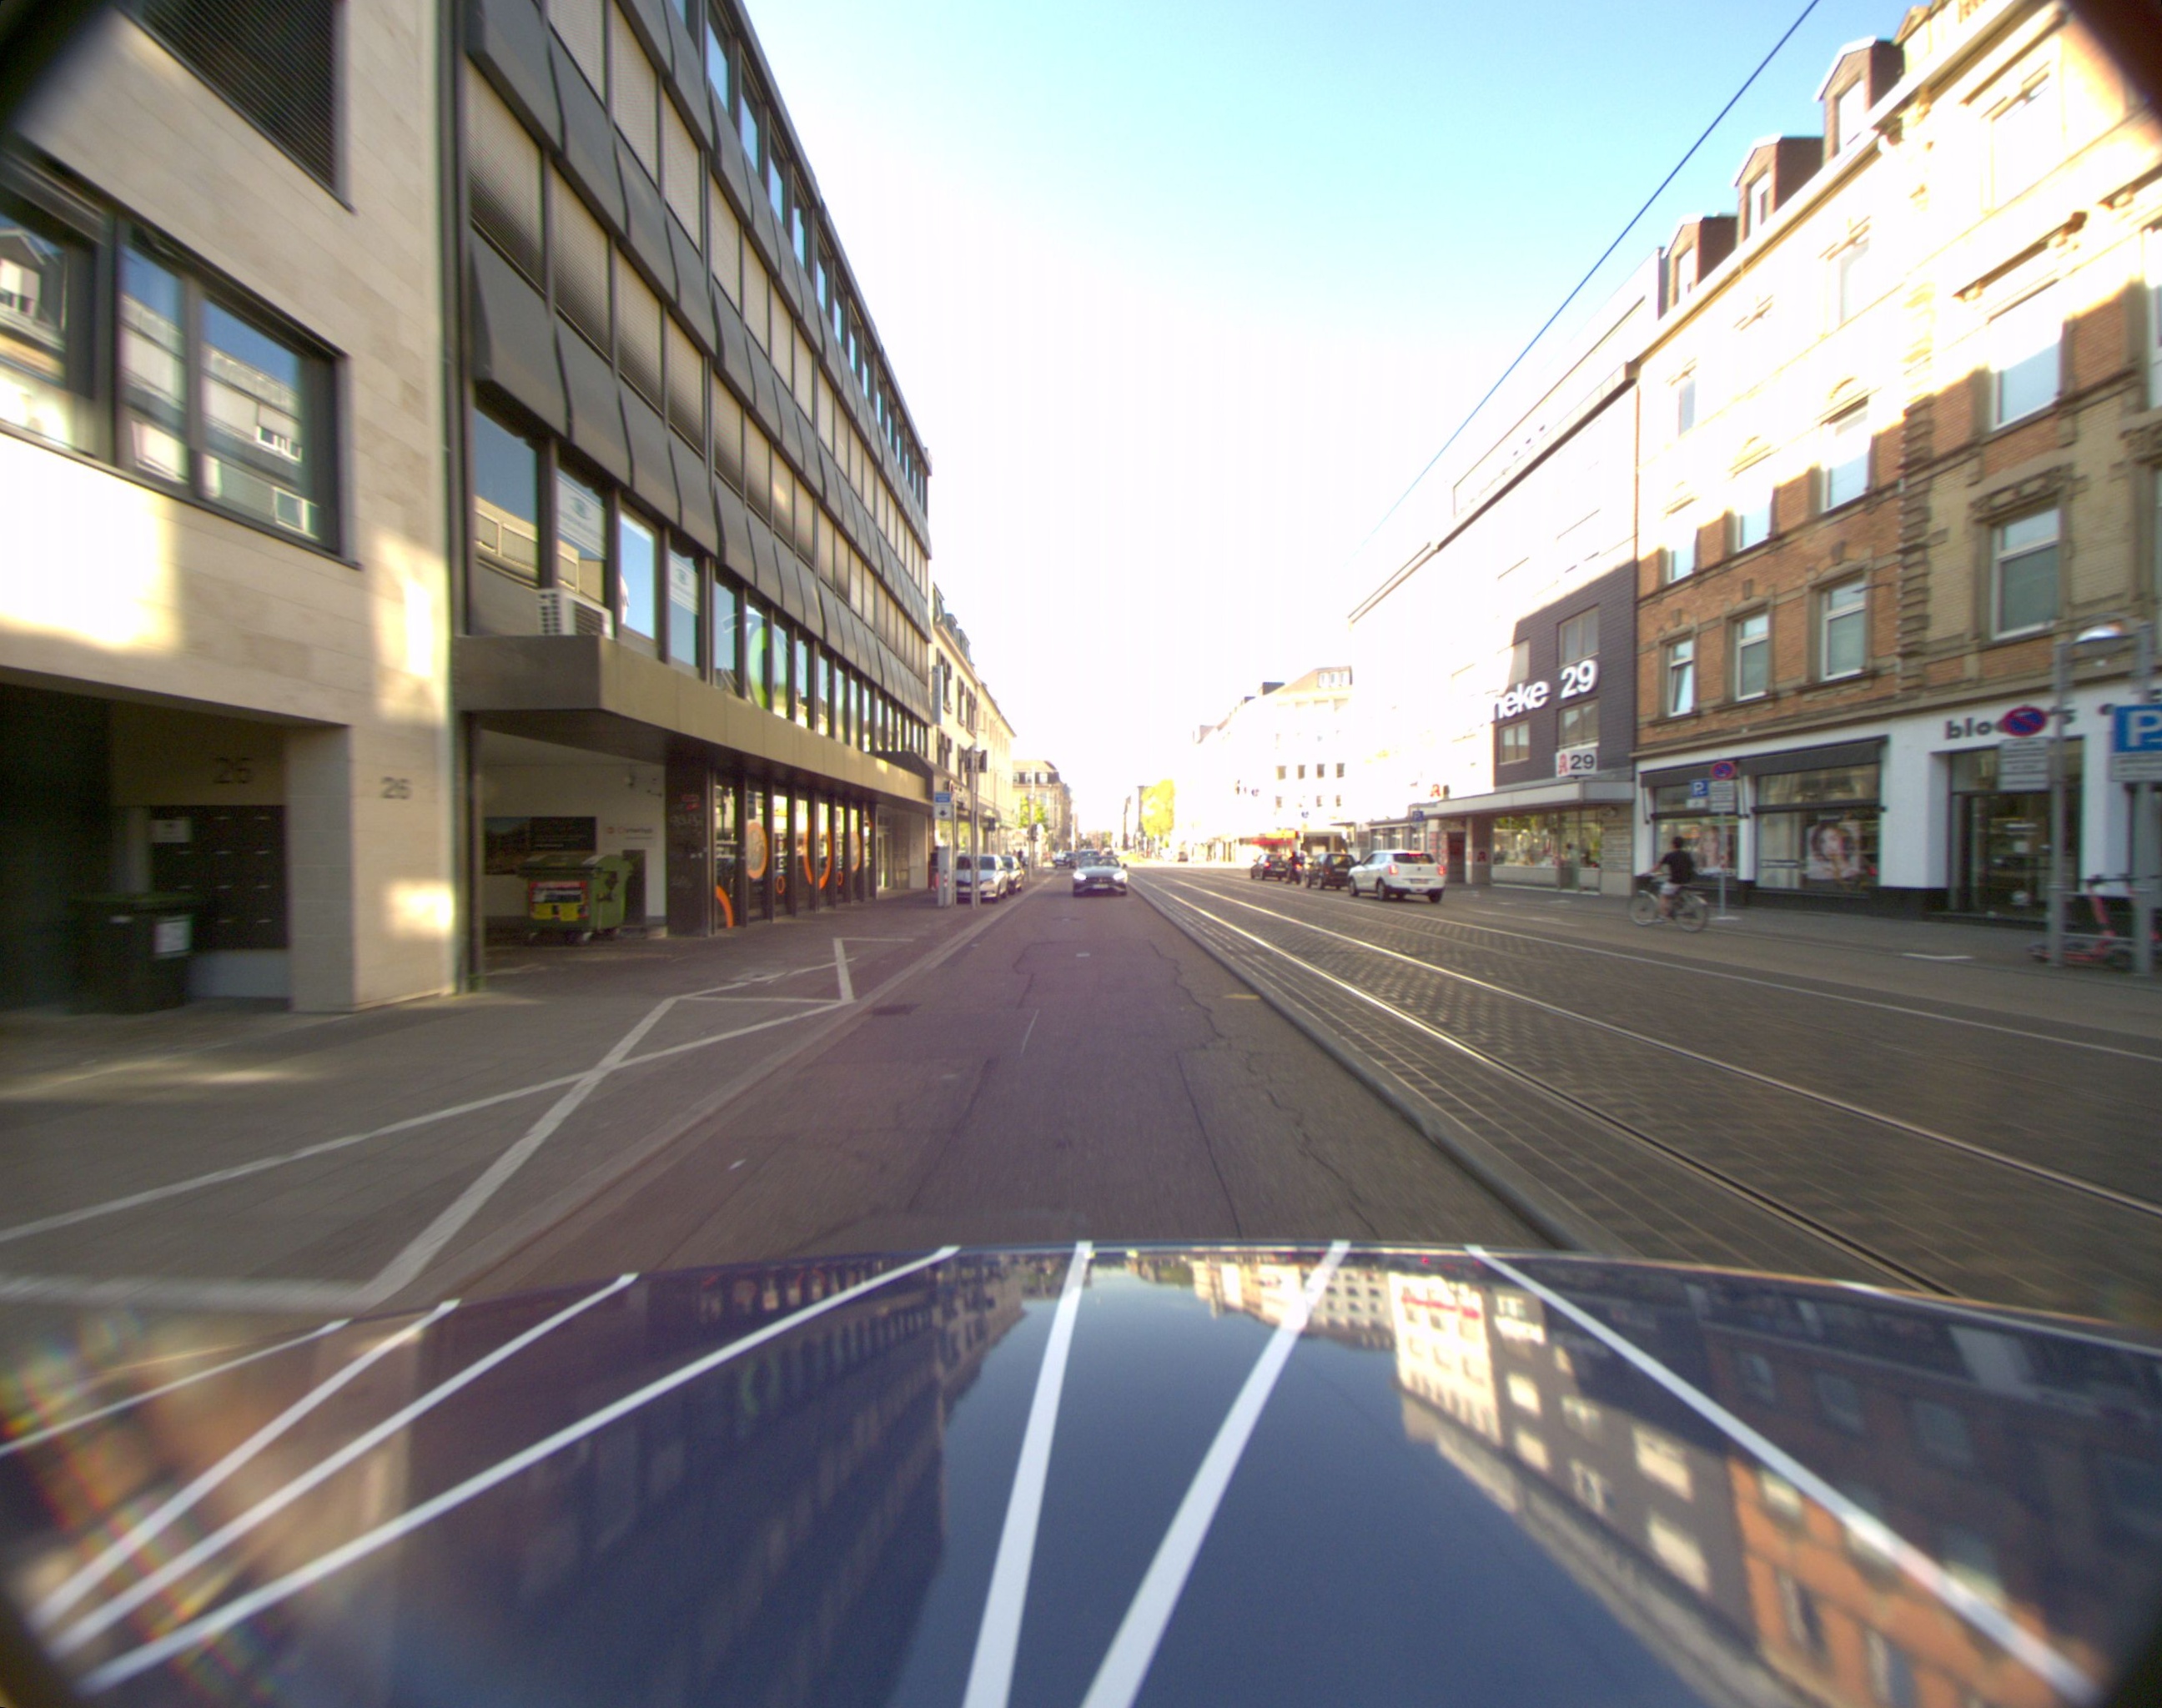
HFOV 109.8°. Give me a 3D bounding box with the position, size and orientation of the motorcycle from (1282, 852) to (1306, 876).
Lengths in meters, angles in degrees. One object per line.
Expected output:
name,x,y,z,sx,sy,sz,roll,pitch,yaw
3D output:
motorcycle,10.121,0.452,36.161,0.571,1.113,2.117,0,1,1

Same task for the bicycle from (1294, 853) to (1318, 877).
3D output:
bicycle,12.565,0.596,42.532,0.752,1.286,2.025,-1,1,1

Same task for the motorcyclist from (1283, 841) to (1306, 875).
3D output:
motorcyclist,10.104,0.188,35.978,0.805,1.549,1.146,1,1,2

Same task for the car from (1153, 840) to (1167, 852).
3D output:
car,13.725,-1.395,132.664,1.998,2.002,4.000,-1,1,1

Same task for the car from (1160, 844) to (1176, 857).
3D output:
car,13.892,-0.628,121.404,1.998,2.002,4.000,-1,1,1

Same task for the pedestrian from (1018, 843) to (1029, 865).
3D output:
pedestrian,-4.974,-0.003,66.108,0.680,1.831,0.643,0,1,24

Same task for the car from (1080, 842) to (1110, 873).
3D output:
car,0.883,0.194,50.389,1.910,1.860,4.096,-1,2,0

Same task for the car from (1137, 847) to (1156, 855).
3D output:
car,14.770,-0.599,171.037,3.996,1.787,2.000,0,0,1

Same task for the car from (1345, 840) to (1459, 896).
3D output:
car,10.036,0.374,24.150,1.894,1.585,4.262,1,1,1

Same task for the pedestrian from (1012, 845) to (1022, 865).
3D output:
pedestrian,-5.590,0.060,66.169,0.648,1.749,0.575,0,2,24

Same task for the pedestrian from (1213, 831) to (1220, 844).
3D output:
pedestrian,16.914,-2.040,94.715,0.710,1.699,0.561,0,1,22

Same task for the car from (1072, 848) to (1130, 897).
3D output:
car,0.686,0.591,27.332,1.910,1.454,4.362,-1,2,1

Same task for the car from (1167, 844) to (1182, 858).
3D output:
car,14.244,-0.442,115.732,1.998,2.002,4.843,-1,0,4

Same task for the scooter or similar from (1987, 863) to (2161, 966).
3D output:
scooter or similar,12.955,0.743,9.944,0.365,1.195,1.476,-3,1,-2

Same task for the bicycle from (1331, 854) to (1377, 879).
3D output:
bicycle,14.077,0.637,39.178,2.109,1.216,0.773,-2,1,-4

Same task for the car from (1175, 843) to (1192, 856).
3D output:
car,14.460,-0.623,107.442,1.998,1.696,4.000,-1,0,1

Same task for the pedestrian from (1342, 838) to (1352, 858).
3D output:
pedestrian,22.997,-0.526,65.626,0.653,1.703,0.793,-1,2,10

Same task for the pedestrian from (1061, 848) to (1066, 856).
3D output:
pedestrian,-2.756,-0.328,118.705,0.622,1.266,0.779,0,1,-6

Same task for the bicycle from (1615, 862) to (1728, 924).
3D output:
bicycle,11.625,0.729,15.040,0.580,1.109,1.951,0,1,-6

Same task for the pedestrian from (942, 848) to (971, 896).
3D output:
pedestrian,-4.945,0.700,30.215,0.925,1.832,0.999,1,1,2

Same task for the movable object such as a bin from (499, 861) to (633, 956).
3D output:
movable object such as a bin,-8.239,0.848,12.229,1.416,1.421,1.037,0,1,0

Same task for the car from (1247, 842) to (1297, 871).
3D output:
car,10.276,0.130,41.081,1.717,1.437,4.138,2,0,1

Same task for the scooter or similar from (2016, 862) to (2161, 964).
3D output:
scooter or similar,13.445,0.729,9.941,0.581,1.195,1.476,-2,1,-2

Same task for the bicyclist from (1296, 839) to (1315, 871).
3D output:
bicyclist,12.589,0.049,42.565,0.752,1.719,1.146,-1,1,2

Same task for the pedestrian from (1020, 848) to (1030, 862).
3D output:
pedestrian,-6.617,0.136,90.303,0.947,1.654,0.915,-1,1,-24

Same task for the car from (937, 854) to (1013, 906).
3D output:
car,-3.215,0.748,23.860,1.749,1.454,4.295,0,1,1

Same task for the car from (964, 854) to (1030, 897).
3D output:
car,-3.092,0.744,28.828,1.852,1.454,4.302,1,1,3

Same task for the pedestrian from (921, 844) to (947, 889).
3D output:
pedestrian,-5.789,0.475,30.039,0.781,1.742,1.032,0,1,2

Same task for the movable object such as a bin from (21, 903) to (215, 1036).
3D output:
movable object such as a bin,-8.422,0.982,6.685,0.710,1.050,0.760,0,1,1

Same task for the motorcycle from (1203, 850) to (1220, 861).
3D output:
motorcycle,18.395,0.164,107.028,2.254,1.496,1.000,0,1,-2

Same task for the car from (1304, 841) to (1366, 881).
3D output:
car,10.304,0.256,30.963,1.652,1.557,2.829,0,1,1

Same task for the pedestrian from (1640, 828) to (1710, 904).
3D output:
pedestrian,11.634,0.215,14.905,0.626,1.435,0.873,-1,2,-6
